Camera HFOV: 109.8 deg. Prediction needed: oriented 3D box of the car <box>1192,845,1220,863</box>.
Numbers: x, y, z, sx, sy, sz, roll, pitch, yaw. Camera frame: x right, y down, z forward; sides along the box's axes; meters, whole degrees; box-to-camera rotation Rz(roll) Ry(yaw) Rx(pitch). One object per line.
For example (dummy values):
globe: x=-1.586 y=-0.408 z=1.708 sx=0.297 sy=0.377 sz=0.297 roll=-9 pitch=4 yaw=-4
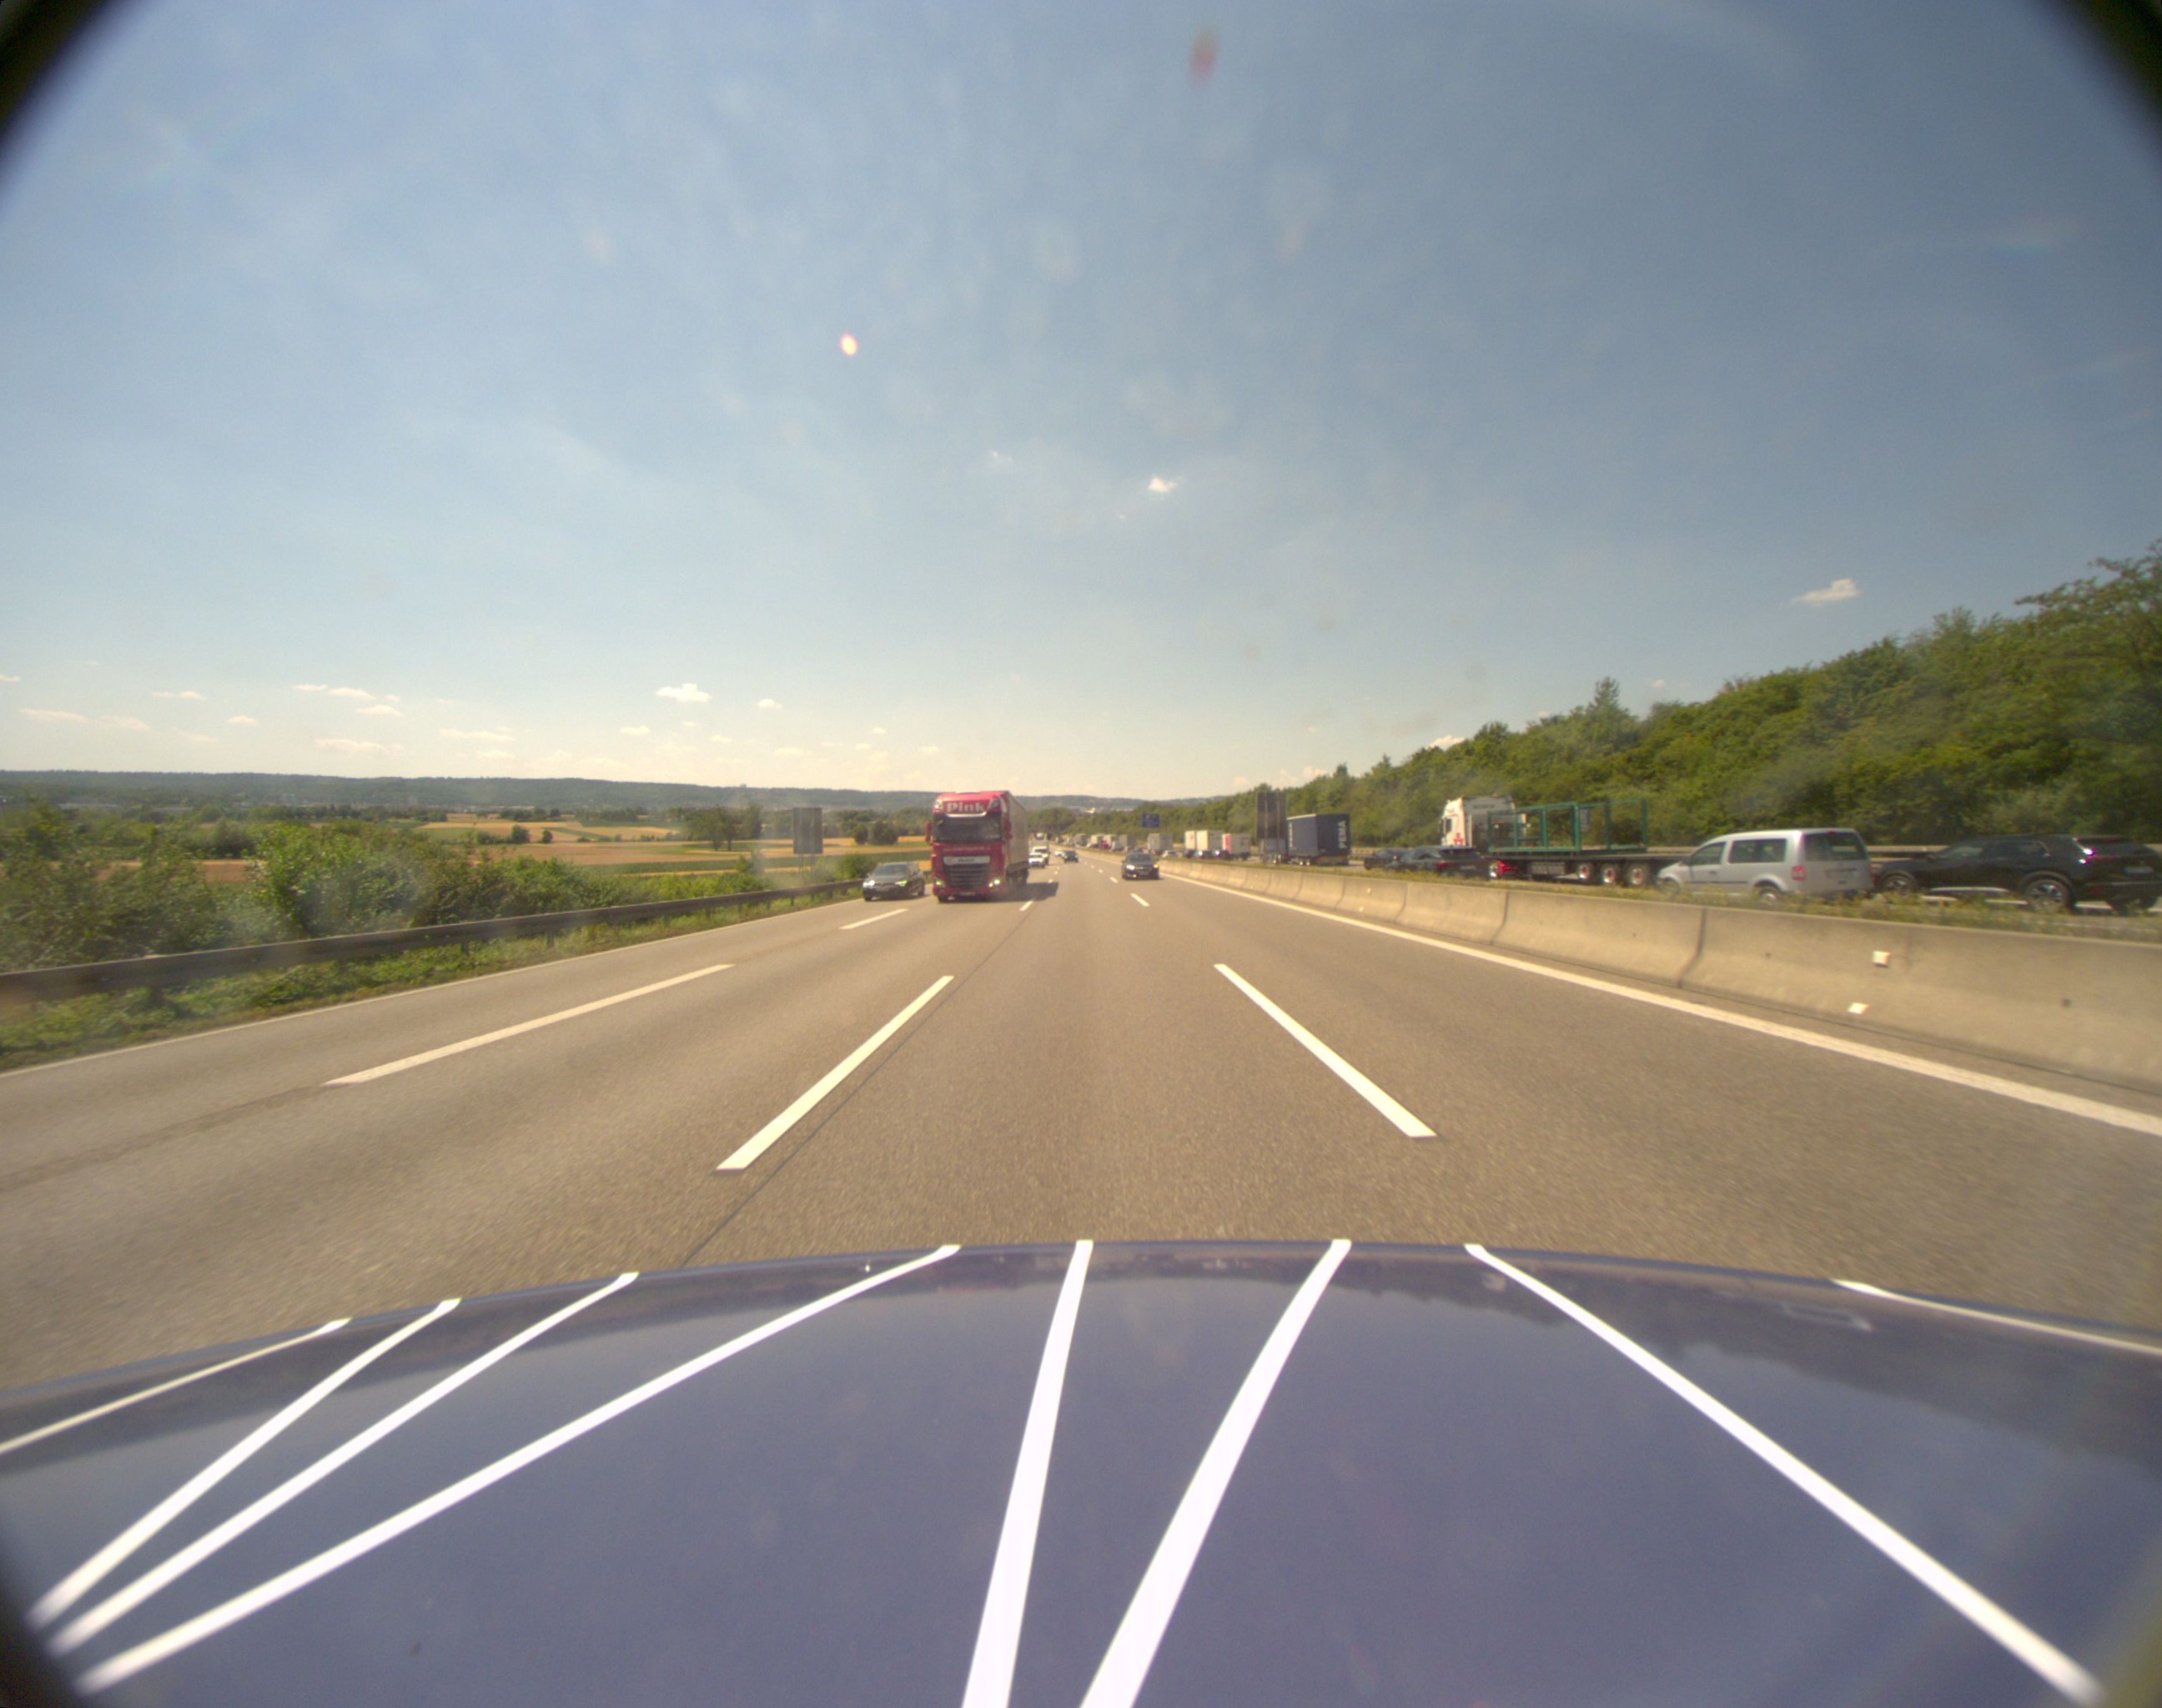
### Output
car: x=11.793 y=0.010 z=72.102 sx=1.842 sy=1.574 sz=4.553 roll=-2 pitch=0 yaw=-1

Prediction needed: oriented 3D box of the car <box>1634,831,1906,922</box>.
car: x=15.568 y=0.434 z=17.626 sx=1.918 sy=1.761 sz=4.761 roll=-2 pitch=1 yaw=-1

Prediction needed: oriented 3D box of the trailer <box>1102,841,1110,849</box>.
trailer: x=7.018 y=-2.517 z=214.033 sx=1.574 sy=2.240 sz=3.959 roll=-1 pitch=1 yaw=-6

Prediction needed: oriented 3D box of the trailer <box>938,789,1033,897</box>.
trailer: x=-4.140 y=-0.543 z=36.503 sx=2.926 sy=4.094 sz=13.853 roll=-2 pitch=1 yaw=-1

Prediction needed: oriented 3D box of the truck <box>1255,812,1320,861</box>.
truck: x=19.048 y=-1.540 z=70.912 sx=3.009 sy=4.209 sz=10.731 roll=-1 pitch=1 yaw=-1

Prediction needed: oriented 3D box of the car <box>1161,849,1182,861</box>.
car: x=11.209 y=0.092 z=94.323 sx=1.842 sy=1.278 sz=4.872 roll=-2 pitch=3 yaw=-1

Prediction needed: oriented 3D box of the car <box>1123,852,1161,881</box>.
car: x=3.353 y=0.665 z=42.577 sx=1.807 sy=1.534 sz=4.749 roll=-1 pitch=0 yaw=1

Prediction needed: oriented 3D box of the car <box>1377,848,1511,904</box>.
car: x=12.377 y=0.670 z=26.391 sx=2.054 sy=1.686 sz=5.254 roll=-2 pitch=0 yaw=-1

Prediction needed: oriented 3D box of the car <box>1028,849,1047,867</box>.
car: x=-4.555 y=0.357 z=79.431 sx=1.837 sy=1.636 sz=4.169 roll=-2 pitch=2 yaw=-5

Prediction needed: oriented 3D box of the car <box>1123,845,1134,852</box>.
car: x=10.636 y=-1.259 z=170.536 sx=1.757 sy=1.452 sz=4.855 roll=-2 pitch=3 yaw=-4

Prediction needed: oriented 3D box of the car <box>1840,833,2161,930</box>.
car: x=19.299 y=0.439 z=16.079 sx=1.842 sy=1.622 sz=4.602 roll=-2 pitch=3 yaw=-1

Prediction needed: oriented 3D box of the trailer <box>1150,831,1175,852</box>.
trailer: x=16.050 y=-2.478 z=150.965 sx=2.910 sy=4.063 sz=14.438 roll=-1 pitch=1 yaw=-2

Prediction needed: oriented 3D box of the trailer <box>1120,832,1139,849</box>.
trailer: x=12.577 y=-3.600 z=198.452 sx=2.990 sy=4.183 sz=14.183 roll=-2 pitch=2 yaw=-4

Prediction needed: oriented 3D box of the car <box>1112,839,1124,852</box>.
car: x=9.272 y=-2.163 z=191.028 sx=2.145 sy=2.771 sz=6.619 roll=-2 pitch=3 yaw=-4

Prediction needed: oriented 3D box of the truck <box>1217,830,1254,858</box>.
truck: x=18.464 y=-1.208 z=91.321 sx=2.545 sy=3.189 sz=7.586 roll=-2 pitch=1 yaw=-2

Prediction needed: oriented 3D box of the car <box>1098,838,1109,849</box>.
car: x=6.473 y=-3.002 z=219.110 sx=2.244 sy=2.997 sz=6.546 roll=-1 pitch=1 yaw=-6

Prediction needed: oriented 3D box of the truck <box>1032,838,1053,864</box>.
truck: x=-4.790 y=-0.422 z=94.898 sx=2.445 sy=3.011 sz=6.912 roll=-2 pitch=2 yaw=-2

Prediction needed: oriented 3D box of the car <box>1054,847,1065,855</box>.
car: x=-4.441 y=-0.591 z=157.098 sx=1.999 sy=1.467 sz=3.997 roll=-2 pitch=3 yaw=-1

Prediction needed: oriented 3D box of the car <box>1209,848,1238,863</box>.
car: x=15.154 y=0.144 z=81.165 sx=1.999 sy=1.447 sz=5.169 roll=-1 pitch=1 yaw=-1

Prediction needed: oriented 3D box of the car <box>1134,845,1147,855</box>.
car: x=12.185 y=-0.841 z=155.868 sx=1.866 sy=1.632 sz=5.110 roll=-2 pitch=3 yaw=-3

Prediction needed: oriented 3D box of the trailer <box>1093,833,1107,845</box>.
trailer: x=6.516 y=-5.150 z=262.922 sx=2.912 sy=3.851 sz=13.865 roll=-2 pitch=2 yaw=-5

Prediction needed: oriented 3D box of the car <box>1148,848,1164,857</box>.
car: x=13.055 y=-0.274 z=131.776 sx=1.999 sy=1.536 sz=5.492 roll=-1 pitch=1 yaw=-2

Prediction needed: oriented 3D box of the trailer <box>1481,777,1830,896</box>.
trailer: x=19.295 y=-0.536 z=27.454 sx=2.865 sy=3.187 sz=12.781 roll=-2 pitch=0 yaw=0

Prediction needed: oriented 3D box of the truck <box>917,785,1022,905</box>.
truck: x=-4.051 y=-0.358 z=29.158 sx=2.924 sy=3.986 sz=6.509 roll=-2 pitch=1 yaw=0

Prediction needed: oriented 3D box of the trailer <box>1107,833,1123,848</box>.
trailer: x=10.106 y=-4.043 z=228.984 sx=2.819 sy=4.254 sz=13.858 roll=-2 pitch=2 yaw=-5

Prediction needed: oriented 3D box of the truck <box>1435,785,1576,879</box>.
truck: x=19.307 y=-0.931 z=35.041 sx=2.908 sy=3.854 sz=6.177 roll=-2 pitch=1 yaw=0

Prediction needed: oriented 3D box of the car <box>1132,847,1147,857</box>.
car: x=10.149 y=-0.388 z=131.609 sx=1.999 sy=1.518 sz=4.771 roll=-2 pitch=1 yaw=-1

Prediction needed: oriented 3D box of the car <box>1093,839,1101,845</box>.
car: x=5.158 y=-3.751 z=239.609 sx=1.999 sy=1.706 sz=4.788 roll=-2 pitch=2 yaw=-5

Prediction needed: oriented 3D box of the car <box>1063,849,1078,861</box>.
car: x=-1.390 y=0.177 z=101.926 sx=1.866 sy=1.426 sz=3.997 roll=-1 pitch=2 yaw=-2

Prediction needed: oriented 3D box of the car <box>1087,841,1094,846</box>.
car: x=3.057 y=-3.491 z=249.719 sx=1.886 sy=1.466 sz=4.402 roll=-2 pitch=2 yaw=-5

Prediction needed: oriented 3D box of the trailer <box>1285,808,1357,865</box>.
trailer: x=19.071 y=-1.329 z=61.095 sx=2.993 sy=4.168 sz=8.593 roll=-1 pitch=1 yaw=0

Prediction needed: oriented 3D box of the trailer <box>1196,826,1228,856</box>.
trailer: x=18.400 y=-1.813 z=107.326 sx=2.928 sy=4.048 sz=8.227 roll=-1 pitch=1 yaw=-1

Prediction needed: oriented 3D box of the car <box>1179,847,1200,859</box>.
car: x=14.402 y=-0.145 z=100.801 sx=1.999 sy=1.518 sz=4.771 roll=-2 pitch=1 yaw=-1

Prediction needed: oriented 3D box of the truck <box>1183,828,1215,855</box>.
truck: x=18.053 y=-1.934 z=116.917 sx=2.850 sy=3.876 sz=11.243 roll=-1 pitch=1 yaw=-2

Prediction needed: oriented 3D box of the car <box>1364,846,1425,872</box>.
car: x=18.818 y=0.252 z=45.839 sx=1.661 sy=1.423 sz=4.647 roll=-1 pitch=1 yaw=-1

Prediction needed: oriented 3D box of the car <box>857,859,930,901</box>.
car: x=-7.483 y=0.993 z=30.696 sx=2.037 sy=1.543 sz=3.999 roll=-1 pitch=0 yaw=-2
